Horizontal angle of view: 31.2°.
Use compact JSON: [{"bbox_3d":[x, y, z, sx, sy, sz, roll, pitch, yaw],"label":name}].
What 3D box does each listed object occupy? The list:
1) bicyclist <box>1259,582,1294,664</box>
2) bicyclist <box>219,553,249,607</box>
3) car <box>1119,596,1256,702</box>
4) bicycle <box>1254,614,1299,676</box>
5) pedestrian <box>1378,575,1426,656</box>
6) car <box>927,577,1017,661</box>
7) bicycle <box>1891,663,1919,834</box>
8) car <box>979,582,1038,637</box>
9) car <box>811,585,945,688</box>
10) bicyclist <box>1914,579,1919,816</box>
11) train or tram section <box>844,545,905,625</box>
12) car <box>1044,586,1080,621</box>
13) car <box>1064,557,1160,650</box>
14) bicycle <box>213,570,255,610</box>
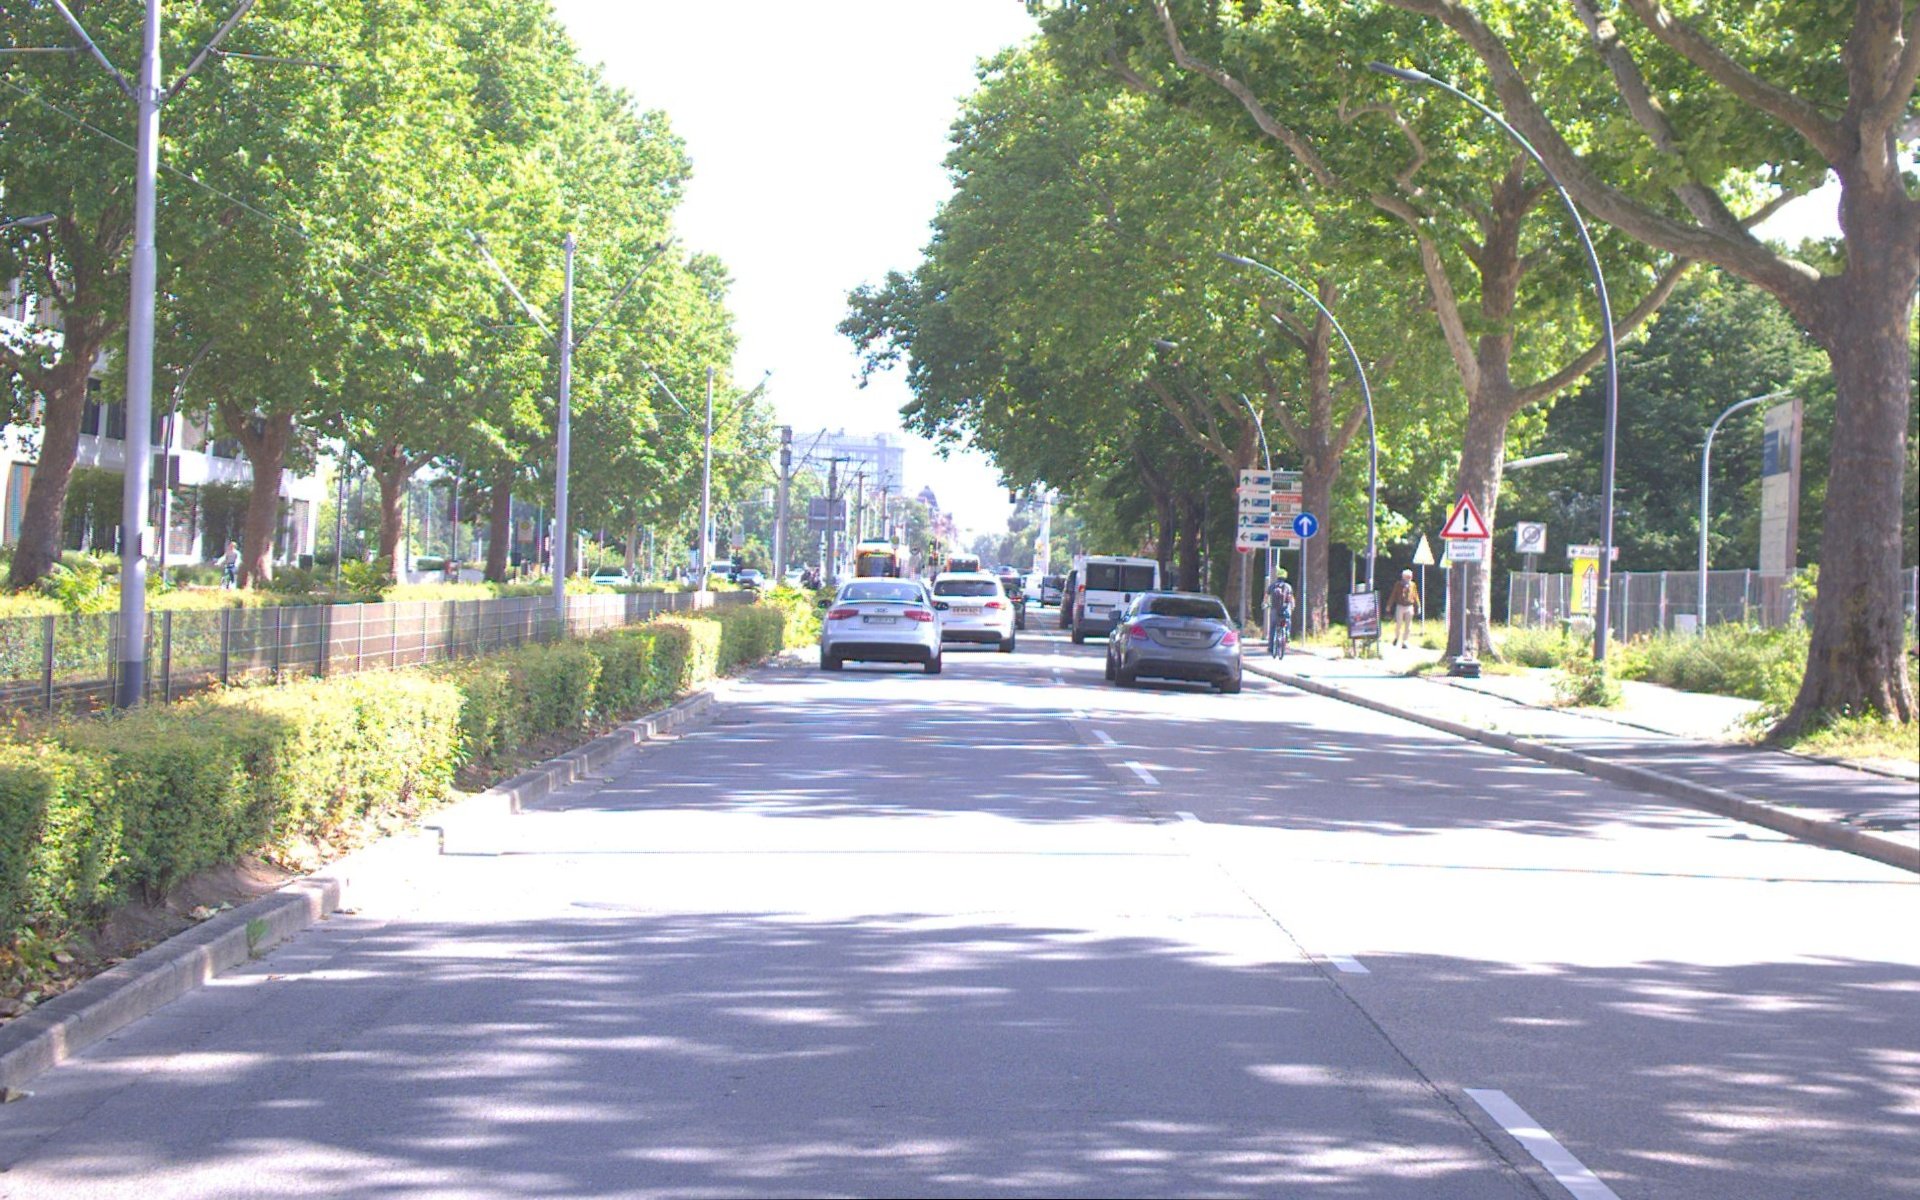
[{"bbox_3d":[6.438,0.458,69.930,0.634,1.642,0.979,0,2,0],"label":"bicyclist"},{"bbox_3d":[-20.934,-0.587,99.173,0.654,1.529,0.641,3,0,2],"label":"bicyclist"},{"bbox_3d":[3.322,0.692,50.732,1.782,1.415,4.000,3,0,1],"label":"car"},{"bbox_3d":[6.432,0.899,69.946,0.714,1.144,2.178,0,2,0],"label":"bicycle"},{"bbox_3d":[10.554,0.356,82.060,0.939,1.886,1.151,2,0,1],"label":"pedestrian"},{"bbox_3d":[0.271,0.380,71.183,1.729,1.599,3.885,3,0,1],"label":"car"},{"bbox_3d":[6.756,1.005,22.772,0.651,1.125,1.945,1,0,0],"label":"bicycle"},{"bbox_3d":[1.533,0.288,107.748,1.729,1.599,3.885,3,0,1],"label":"car"},{"bbox_3d":[-1.199,0.534,51.898,1.785,1.416,3.885,3,0,1],"label":"car"},{"bbox_3d":[6.773,0.658,22.904,0.620,1.594,0.732,0,0,-1],"label":"bicyclist"},{"bbox_3d":[-4.445,-0.780,180.762,2.617,4.001,7.748,3,0,2],"label":"train or tram section"},{"bbox_3d":[6.107,0.223,206.828,2.072,1.992,4.058,3,0,1],"label":"car"},{"bbox_3d":[3.802,0.083,86.704,2.230,2.204,4.161,3,0,1],"label":"car"},{"bbox_3d":[-20.938,-0.280,99.172,0.664,1.120,2.030,3,0,1],"label":"bicycle"}]
